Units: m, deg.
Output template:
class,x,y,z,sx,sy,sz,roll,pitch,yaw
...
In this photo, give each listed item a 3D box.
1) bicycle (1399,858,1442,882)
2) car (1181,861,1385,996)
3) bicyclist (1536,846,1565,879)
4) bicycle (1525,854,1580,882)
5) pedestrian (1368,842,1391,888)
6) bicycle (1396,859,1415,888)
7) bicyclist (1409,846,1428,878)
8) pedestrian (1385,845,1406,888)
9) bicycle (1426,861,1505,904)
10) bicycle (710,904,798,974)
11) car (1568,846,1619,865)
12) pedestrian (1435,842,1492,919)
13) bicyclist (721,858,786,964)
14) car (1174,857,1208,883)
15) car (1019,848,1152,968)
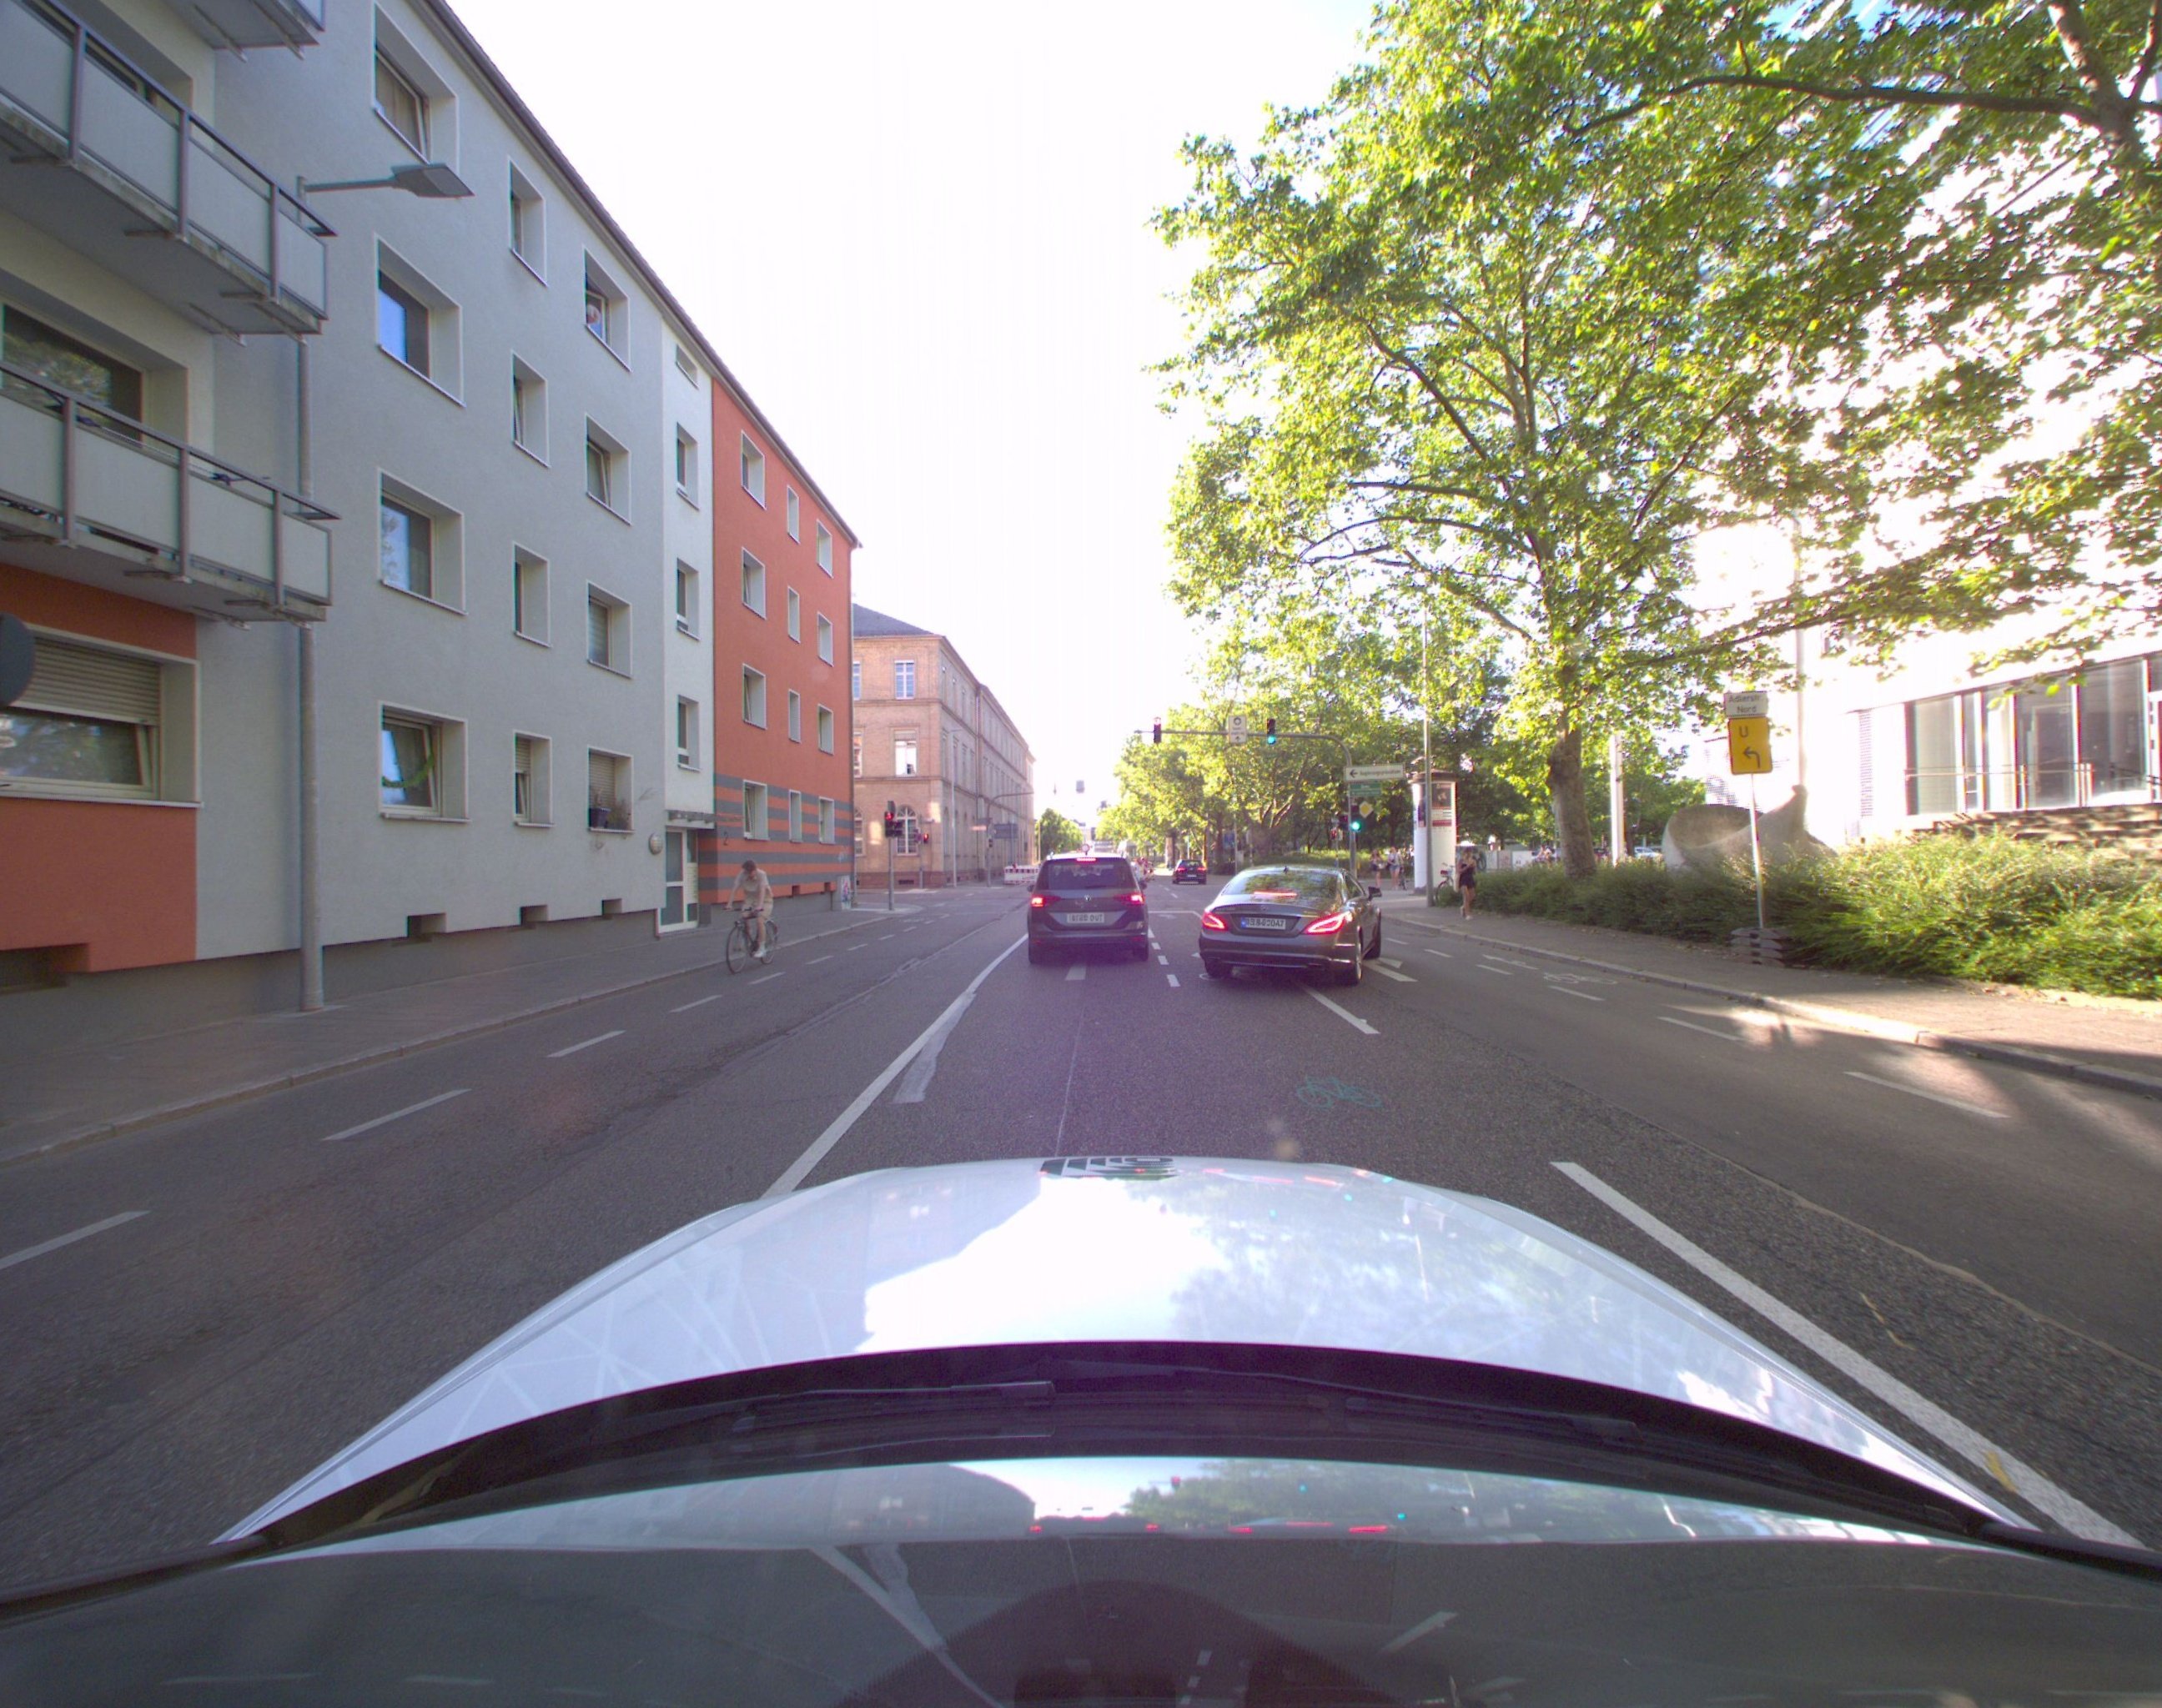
class,x,y,z,sx,sy,sz,roll,pitch,yaw
bicycle,18.009,0.839,43.206,2.023,1.220,0.599,0,-1,1
car,2.964,0.818,11.116,1.826,1.429,4.543,-1,-1,25
bicyclist,23.257,0.413,40.363,0.960,1.615,0.871,0,-1,4
bicycle,23.344,0.699,40.337,2.279,1.326,0.660,0,-1,2
pedestrian,11.971,0.456,32.669,0.726,1.808,0.913,-2,-2,17
bicycle,12.838,0.757,32.241,0.520,1.100,1.749,-1,-1,16
bicyclist,17.931,0.420,43.237,0.707,1.697,0.676,0,-1,1
pedestrian,12.479,0.486,32.365,0.678,1.697,0.975,-1,-1,16
bicycle,10.781,0.799,22.864,1.969,1.190,0.528,0,-1,0
bicycle,-4.977,1.262,12.509,0.546,0.891,1.868,0,-1,2
car,39.714,0.131,63.191,1.624,1.483,3.796,0,-1,1
pedestrian,8.518,0.590,18.168,0.795,1.630,0.908,-3,-2,3
bicyclist,-4.973,0.851,12.417,0.646,1.558,0.807,0,-1,1
car,6.280,0.918,46.882,1.682,1.440,3.906,0,-1,4
car,0.182,0.759,13.221,1.801,1.612,4.003,-2,-1,3
